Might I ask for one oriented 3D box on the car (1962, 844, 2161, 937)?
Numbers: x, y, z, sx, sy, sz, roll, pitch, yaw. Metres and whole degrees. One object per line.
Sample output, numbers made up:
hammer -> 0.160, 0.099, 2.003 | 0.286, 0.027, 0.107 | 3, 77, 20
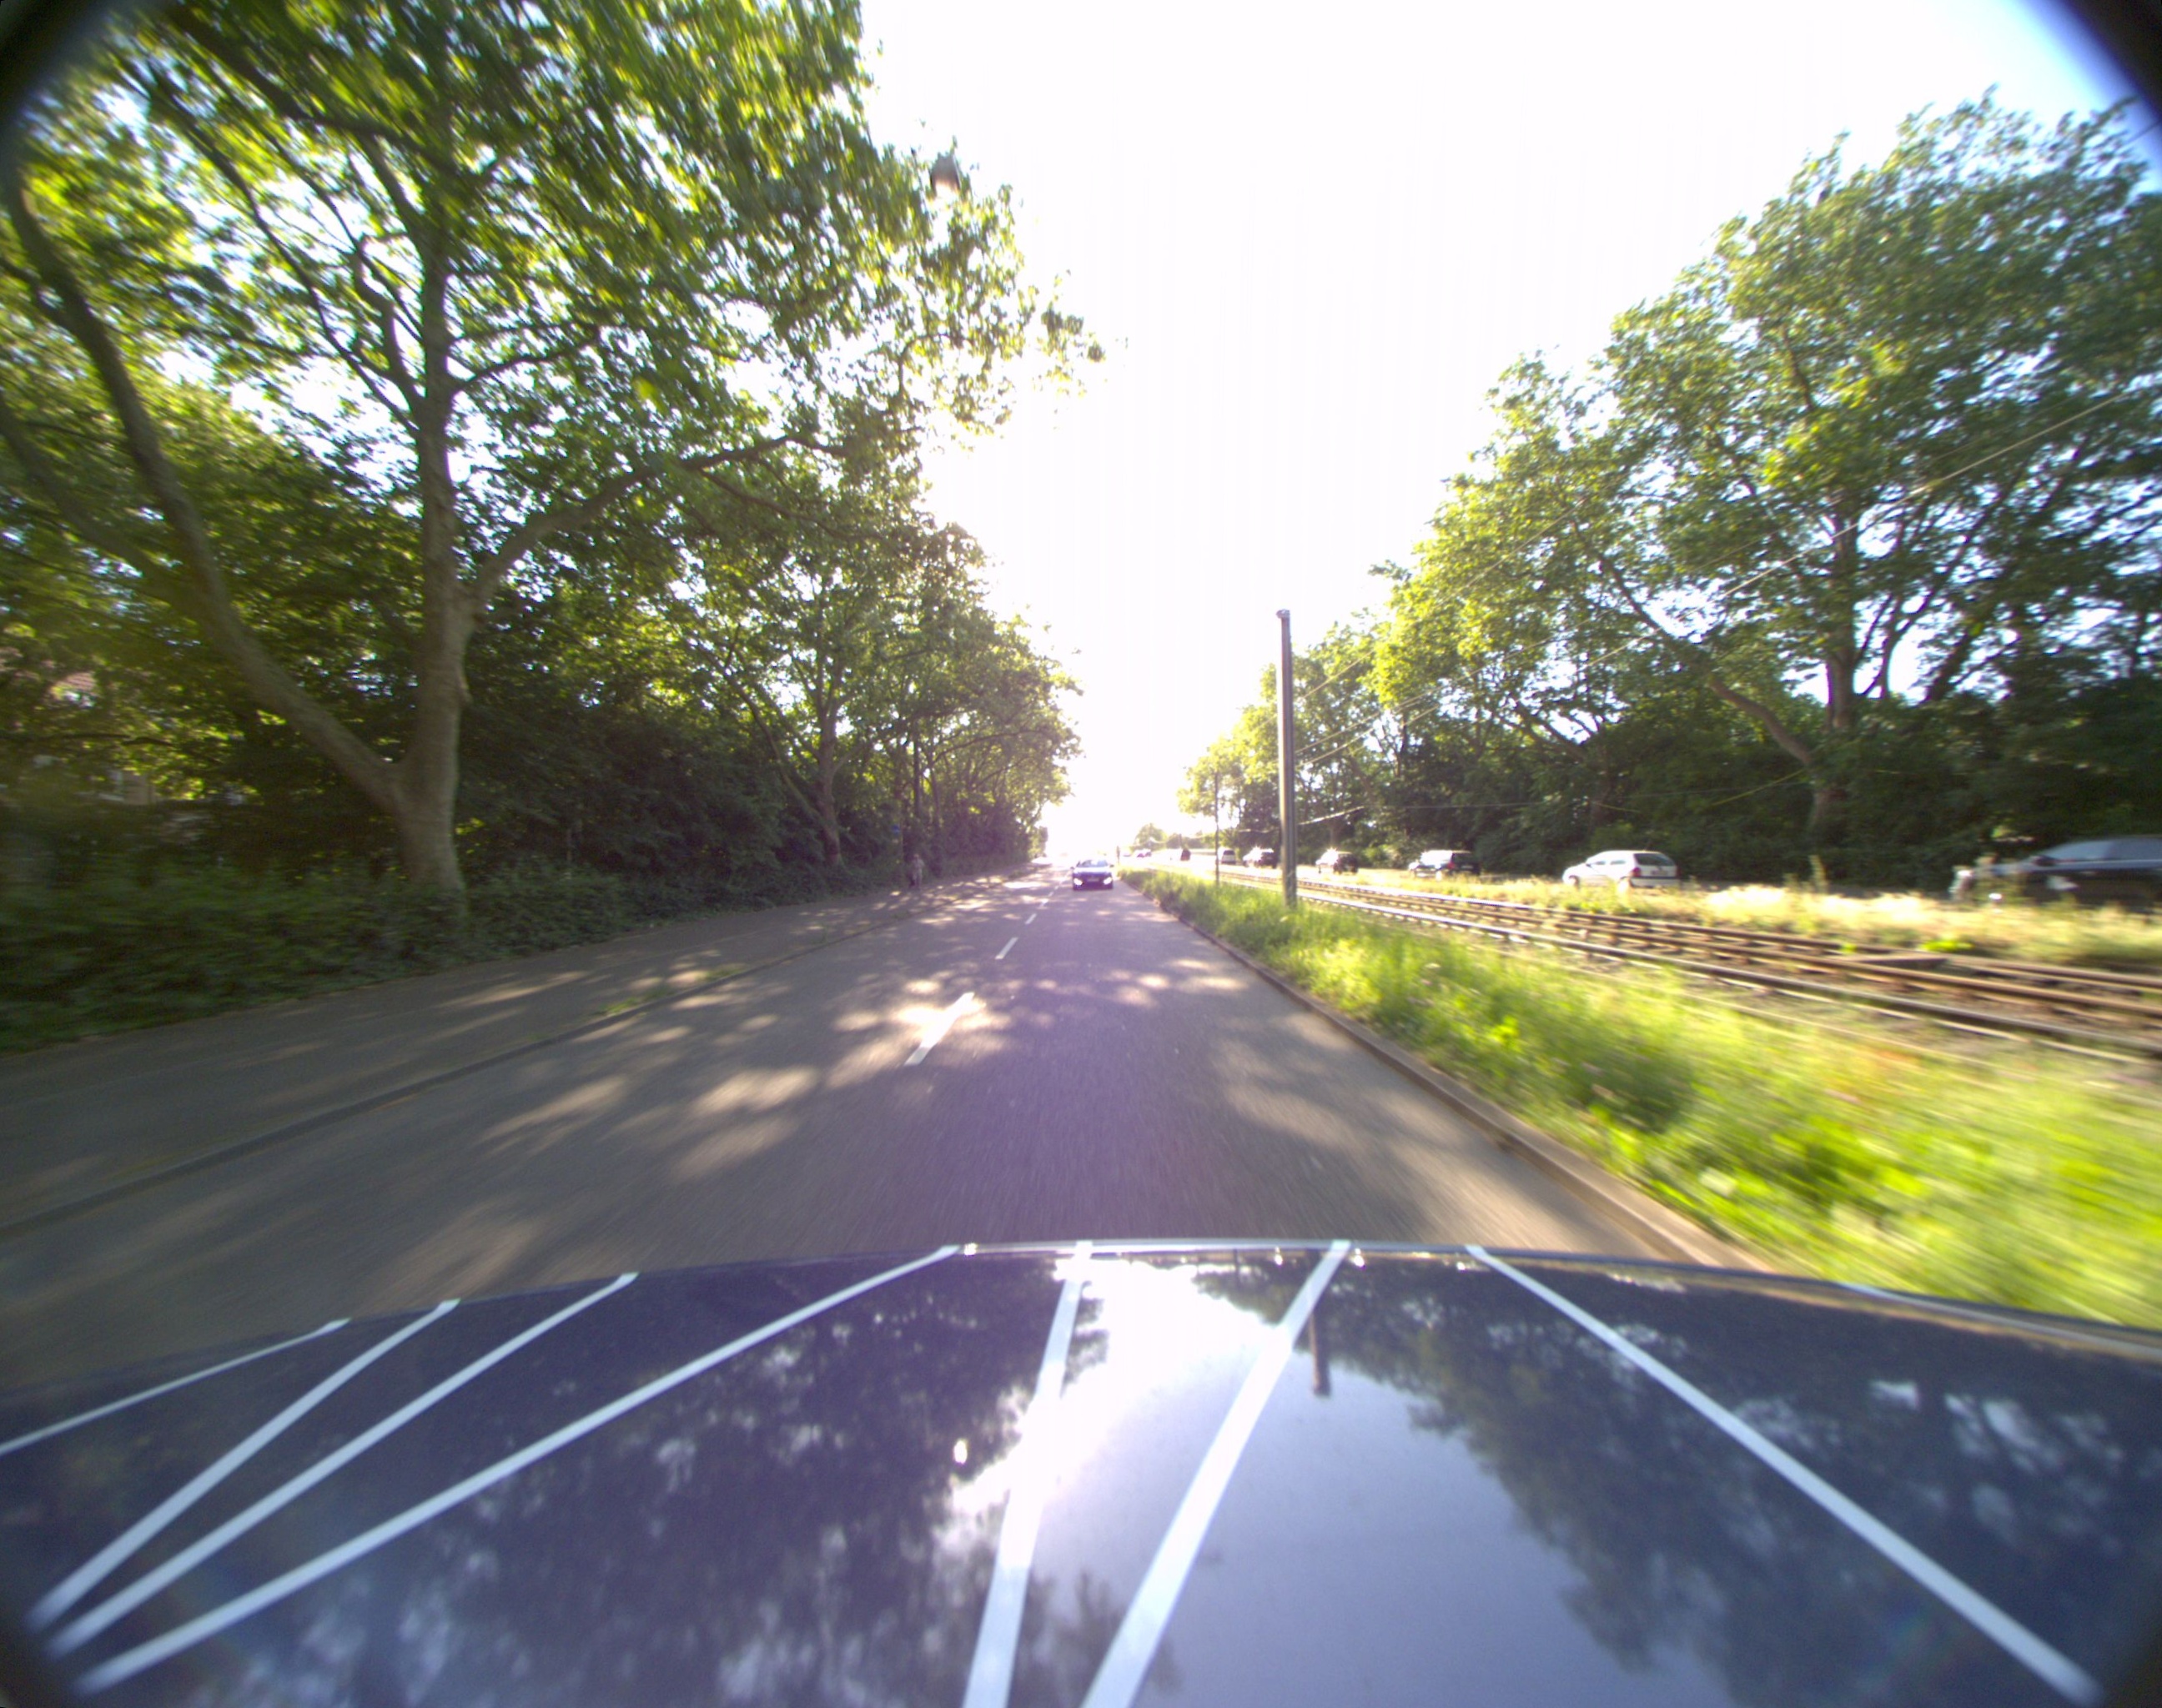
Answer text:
car -> 18.723, 0.600, 13.400 | 1.744, 1.546, 3.880 | 0, 1, -3

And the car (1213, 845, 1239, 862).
car -> 16.122, -0.088, 84.464 | 1.832, 1.830, 4.393 | 0, 1, -3

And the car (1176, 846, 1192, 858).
car -> 15.278, -0.359, 112.614 | 1.735, 1.730, 3.898 | 0, 1, -3

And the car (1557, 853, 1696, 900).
car -> 18.130, 0.700, 25.488 | 1.744, 1.428, 3.850 | 0, 1, -3

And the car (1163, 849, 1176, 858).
car -> 15.014, -0.151, 129.029 | 1.659, 1.491, 3.923 | 0, 1, -3

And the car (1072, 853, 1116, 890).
car -> 0.520, 0.748, 34.591 | 1.799, 1.501, 3.999 | -3, 0, -1

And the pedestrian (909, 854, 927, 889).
pedestrian -> -7.804, 0.827, 36.444 | 0.649, 1.626, 0.927 | 1, 1, 0

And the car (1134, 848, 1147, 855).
car -> 11.481, -0.539, 147.287 | 1.925, 1.407, 4.748 | 1, 1, -2

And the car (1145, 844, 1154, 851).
car -> 14.857, -1.381, 165.273 | 1.658, 1.491, 3.924 | 0, 1, -1

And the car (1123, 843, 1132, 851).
car -> 10.951, -1.752, 180.019 | 1.832, 1.841, 5.035 | 0, 1, -1

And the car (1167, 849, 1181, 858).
car -> 15.076, -0.099, 123.637 | 1.658, 1.434, 3.784 | 0, 1, -2

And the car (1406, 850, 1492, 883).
car -> 17.458, 0.545, 36.279 | 1.832, 1.428, 4.322 | 0, 1, -3

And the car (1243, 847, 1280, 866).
car -> 16.238, 0.210, 68.493 | 1.833, 1.709, 4.391 | 0, 1, -7

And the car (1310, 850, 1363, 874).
car -> 16.659, 0.486, 49.819 | 1.832, 1.496, 4.393 | 0, 1, -3
